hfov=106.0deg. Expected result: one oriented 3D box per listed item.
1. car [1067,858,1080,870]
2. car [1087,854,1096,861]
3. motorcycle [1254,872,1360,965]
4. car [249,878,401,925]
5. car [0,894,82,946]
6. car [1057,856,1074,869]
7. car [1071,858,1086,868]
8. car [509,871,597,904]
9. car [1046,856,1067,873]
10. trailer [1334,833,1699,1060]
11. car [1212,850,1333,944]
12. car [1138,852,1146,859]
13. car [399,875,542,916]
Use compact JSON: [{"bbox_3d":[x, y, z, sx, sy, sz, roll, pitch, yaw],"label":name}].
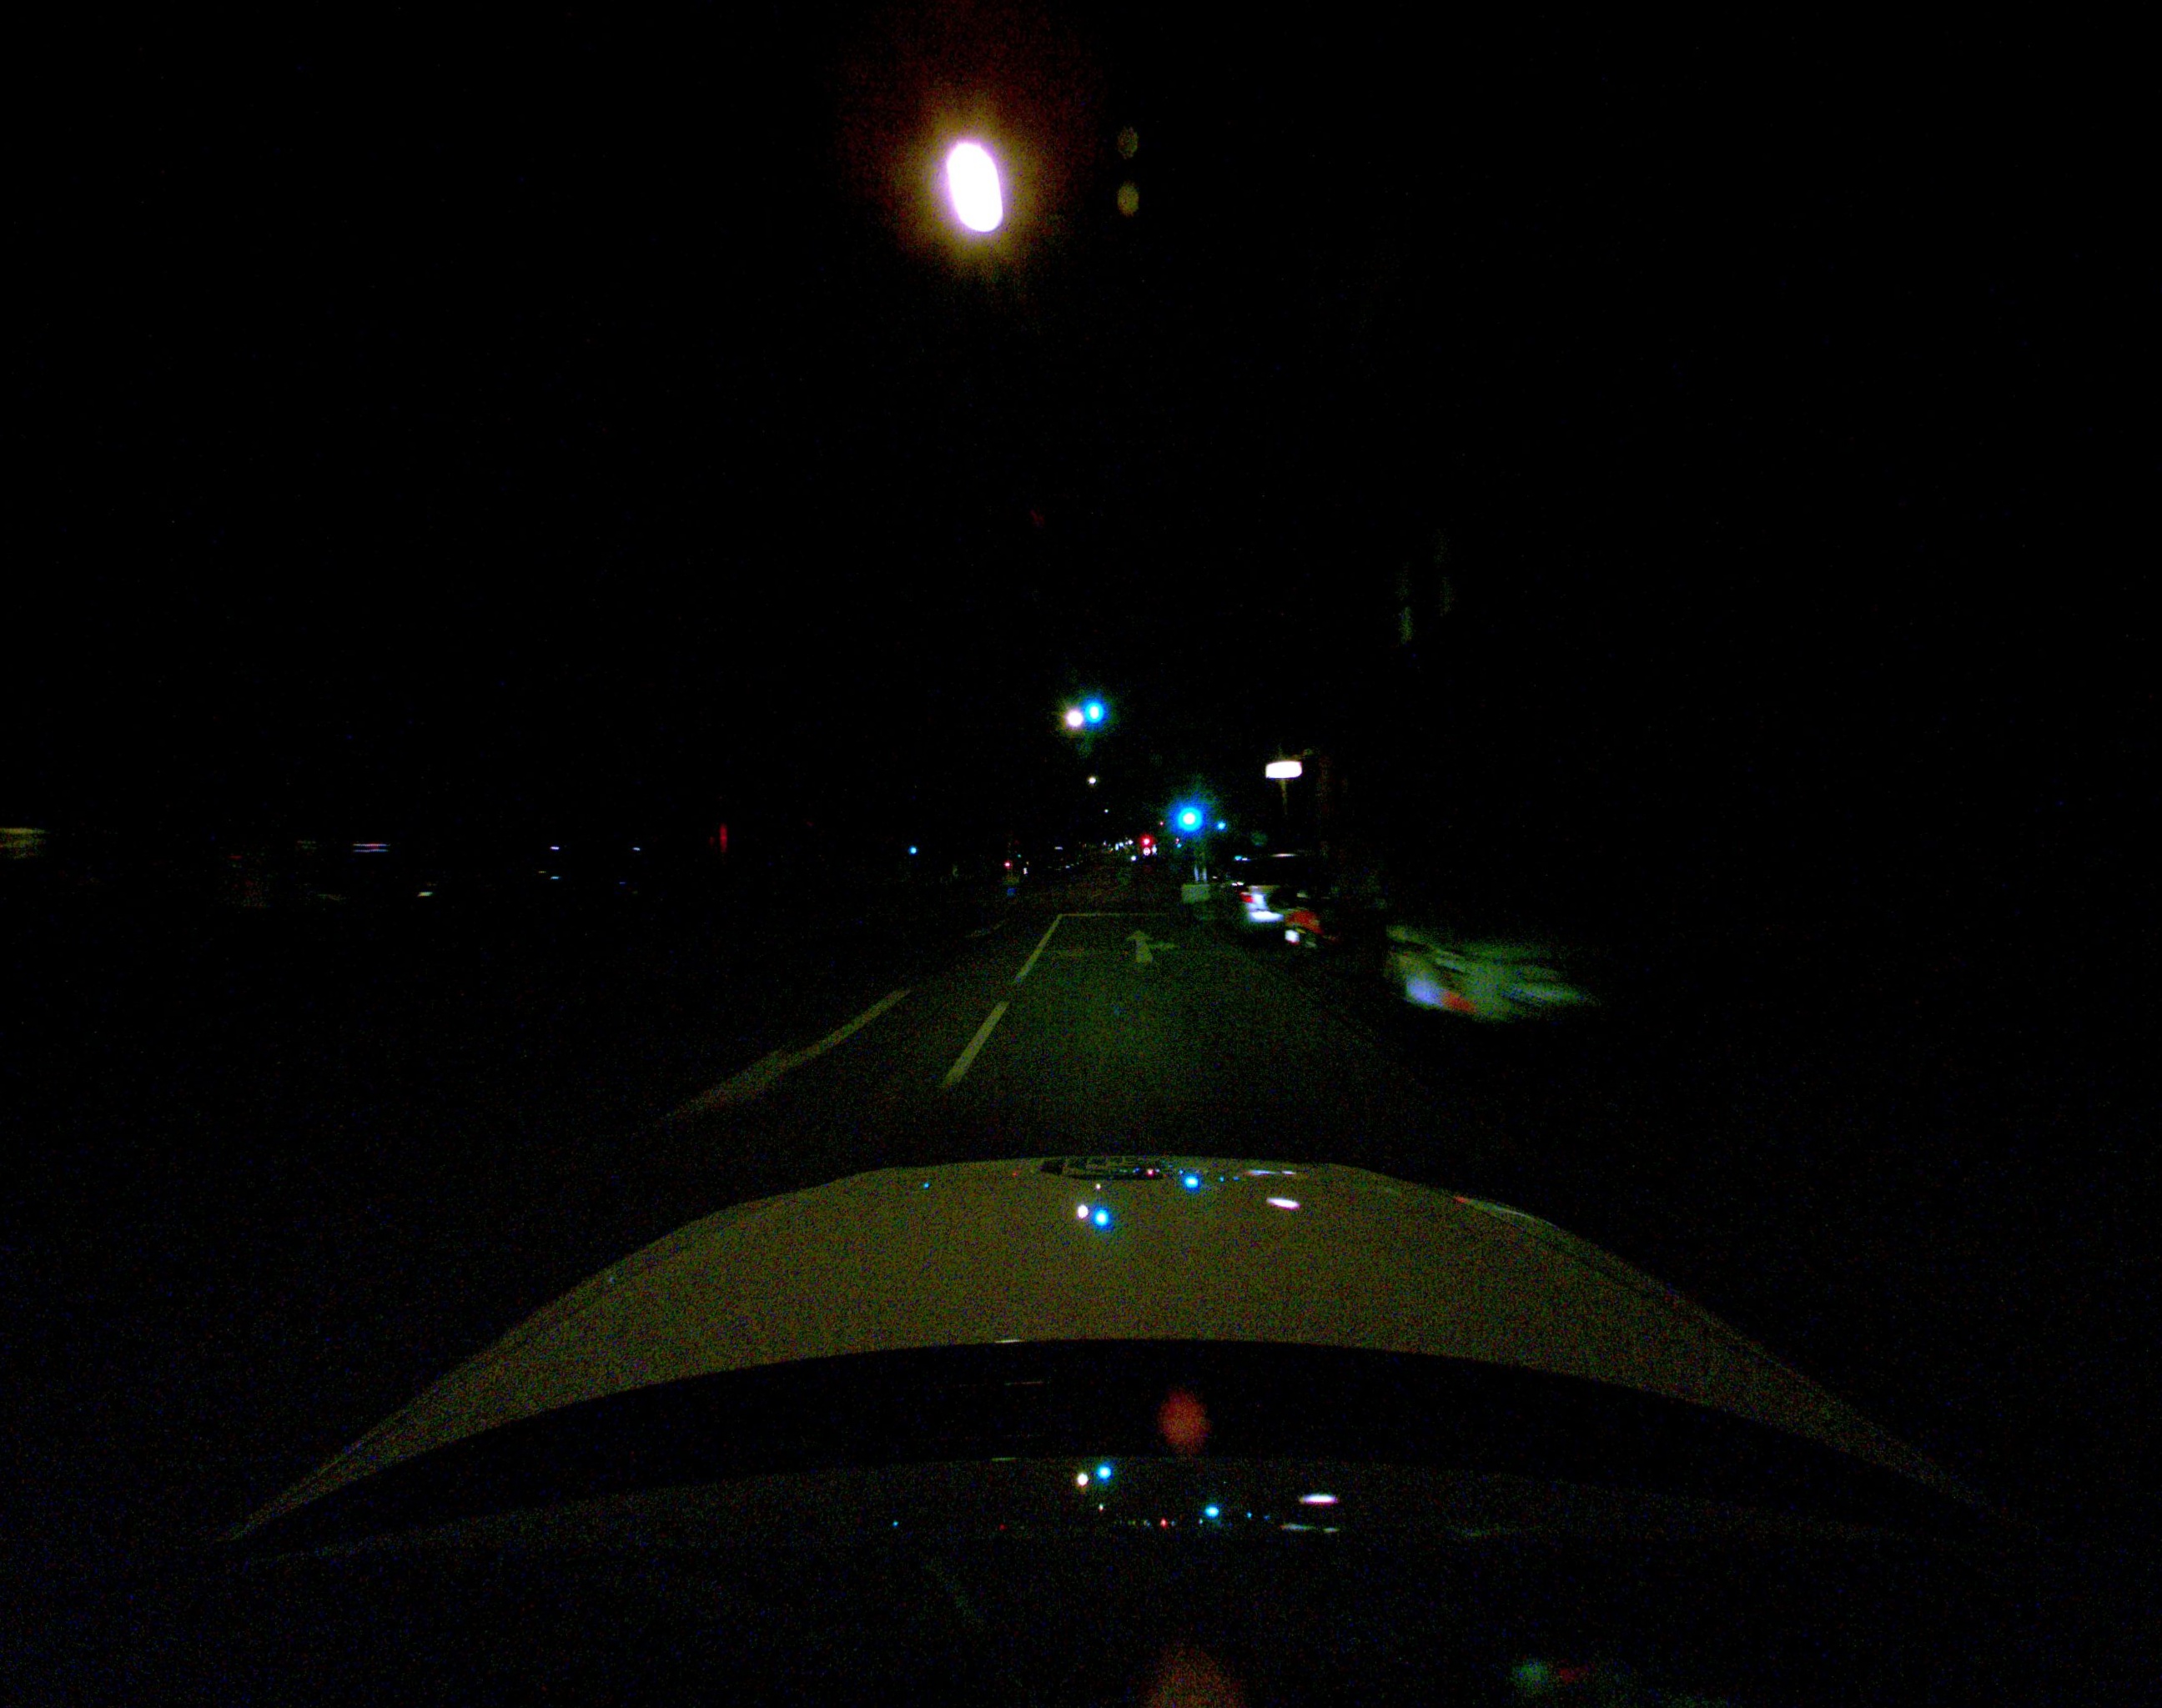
[{"bbox_3d":[-0.976,1.319,108.664,1.617,1.382,4.451,-3,0,0],"label":"car"},{"bbox_3d":[2.252,0.849,177.489,1.645,1.431,4.003,-3,0,3],"label":"car"},{"bbox_3d":[3.294,0.869,11.712,0.719,1.130,2.242,-2,0,35],"label":"motorcycle"},{"bbox_3d":[-30.563,1.955,33.023,4.359,1.678,1.833,-3,-5,1],"label":"car"},{"bbox_3d":[-54.053,3.383,40.644,5.687,2.333,2.170,-3,-1,1],"label":"car"},{"bbox_3d":[-1.749,0.980,95.238,1.762,1.486,4.768,-3,0,1],"label":"car"},{"bbox_3d":[-0.385,1.300,121.821,1.891,1.471,4.456,-1,0,3],"label":"car"},{"bbox_3d":[-29.857,1.862,46.214,1.984,1.640,4.190,-3,-1,4],"label":"car"},{"bbox_3d":[-2.376,1.066,79.035,1.707,1.494,3.991,-2,-2,2],"label":"car"},{"bbox_3d":[3.500,0.631,7.355,1.592,1.495,3.740,-2,0,6],"label":"trailer"},{"bbox_3d":[3.394,0.699,15.044,1.579,1.461,3.801,-2,0,4],"label":"car"},{"bbox_3d":[13.526,0.357,179.801,1.644,1.431,4.005,-3,0,4],"label":"car"},{"bbox_3d":[-24.653,1.716,33.014,4.359,1.393,1.833,-3,-5,1],"label":"car"}]
